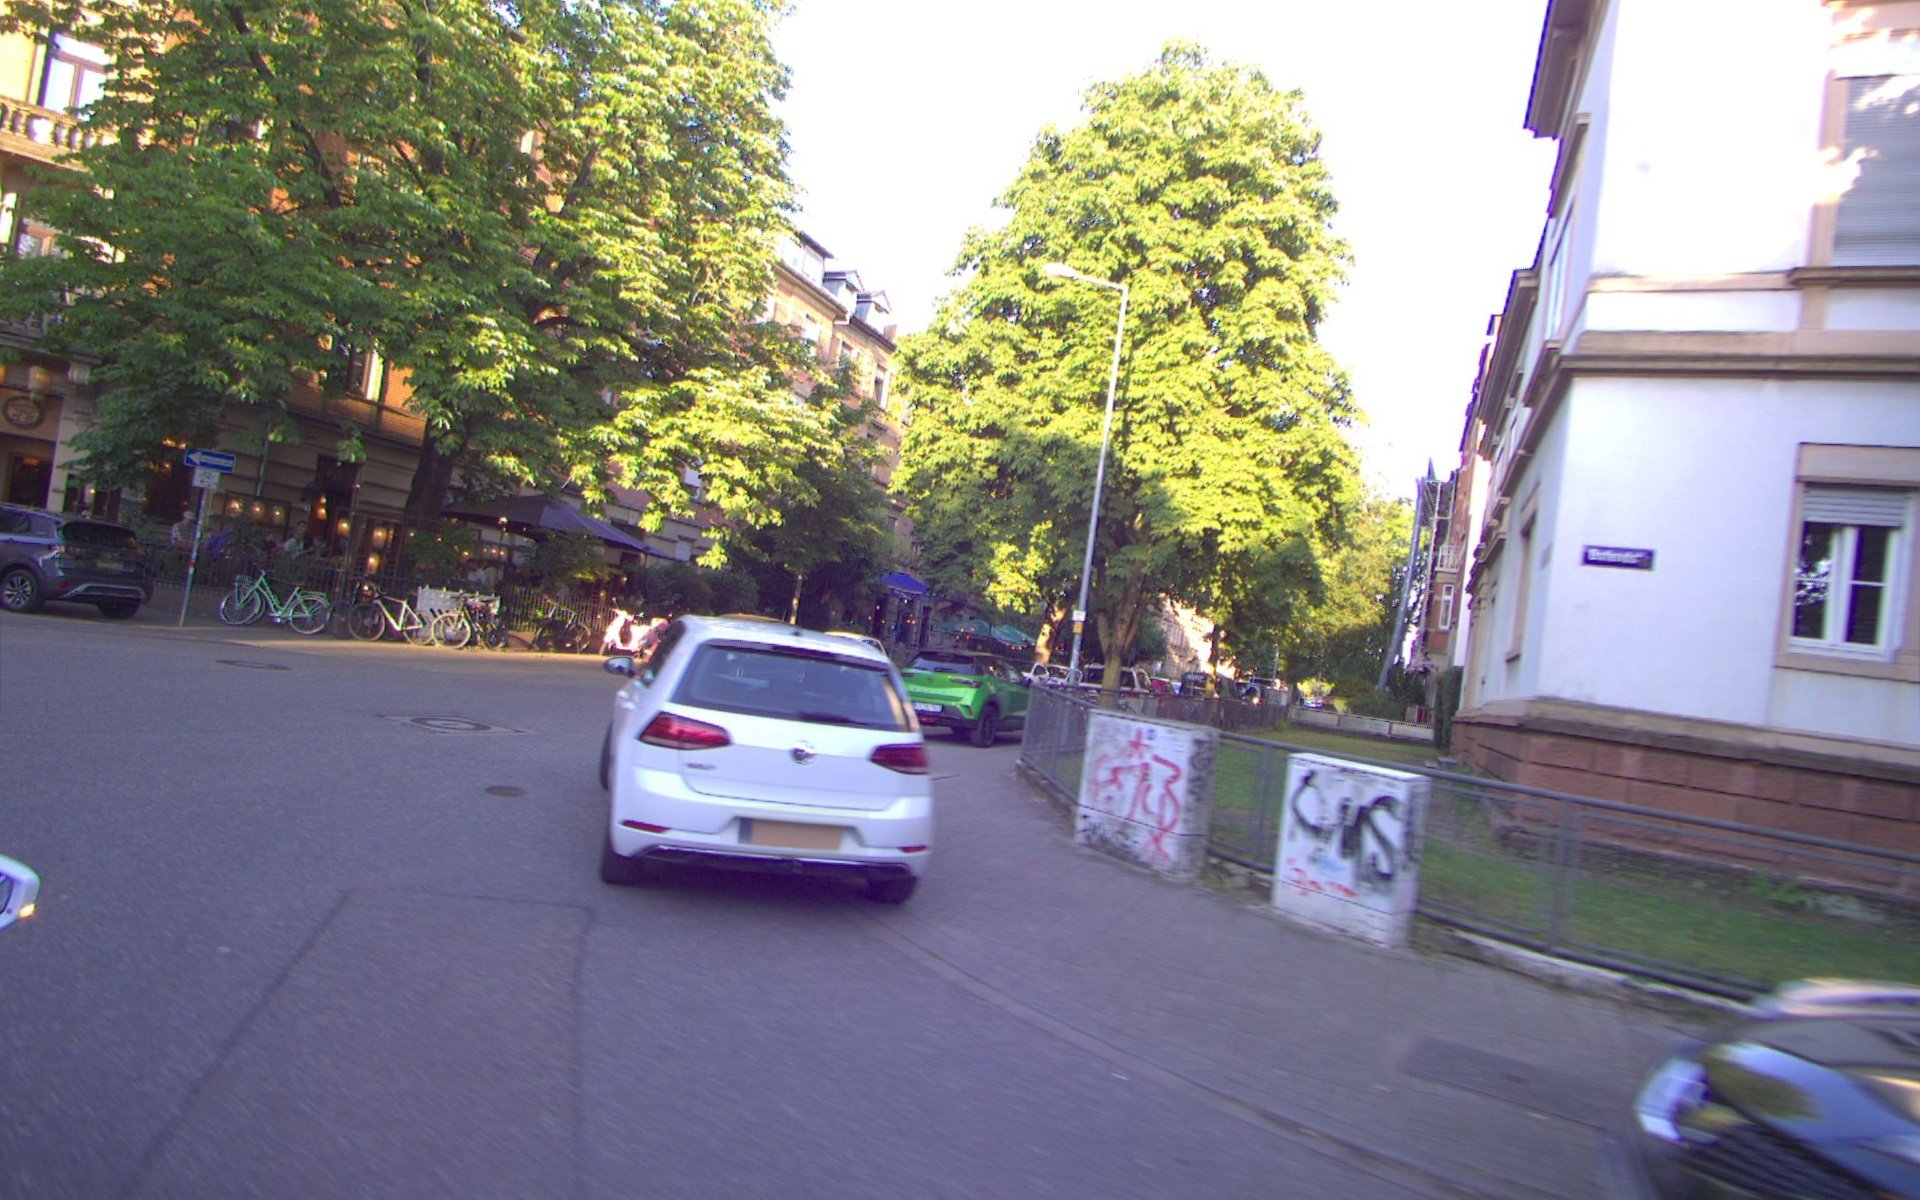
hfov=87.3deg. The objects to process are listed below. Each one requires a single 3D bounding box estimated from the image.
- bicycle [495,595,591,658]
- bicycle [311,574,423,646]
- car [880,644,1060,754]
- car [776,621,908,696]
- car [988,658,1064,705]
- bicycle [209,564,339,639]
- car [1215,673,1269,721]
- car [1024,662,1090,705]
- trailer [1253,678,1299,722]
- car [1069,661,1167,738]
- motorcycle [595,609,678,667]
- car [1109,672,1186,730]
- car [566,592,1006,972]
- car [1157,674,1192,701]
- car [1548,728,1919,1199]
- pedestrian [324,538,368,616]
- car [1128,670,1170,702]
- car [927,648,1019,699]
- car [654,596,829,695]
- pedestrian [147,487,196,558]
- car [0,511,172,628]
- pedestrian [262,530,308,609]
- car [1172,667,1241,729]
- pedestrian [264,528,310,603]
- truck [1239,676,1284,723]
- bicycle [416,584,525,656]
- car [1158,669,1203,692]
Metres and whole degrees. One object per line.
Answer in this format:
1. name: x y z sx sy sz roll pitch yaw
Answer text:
1. bicycle: -9.452 0.620 22.883 0.386 1.156 1.955 9 -2 34
2. bicycle: -11.045 0.213 18.797 0.386 1.157 1.745 7 -2 28
3. car: 0.311 1.739 17.788 1.705 1.574 3.965 4 -4 23
4. car: -3.017 1.590 26.522 1.639 1.509 3.713 10 -2 23
5. car: 2.683 3.302 40.330 1.580 1.451 3.887 10 -2 25
6. bicycle: -12.344 0.039 18.135 1.800 1.111 0.391 8 -1 -14
7. car: 13.421 4.603 47.722 1.811 1.964 4.617 4 -4 23
8. car: 4.275 3.668 43.955 1.529 1.502 3.695 10 -2 26
9. trailer: 18.887 6.002 60.001 1.925 2.320 4.648 4 -4 24
10. car: 4.244 2.611 26.472 1.639 1.697 4.124 4 -4 21
11. motorcycle: -7.919 0.950 24.709 0.386 1.198 1.954 8 -3 34
12. car: 5.875 3.123 31.192 1.639 1.516 3.698 4 -4 21
13. car: -1.414 0.881 6.620 1.790 1.516 4.156 12 -3 -19
14. car: 14.301 5.866 66.987 1.528 1.497 3.698 10 -2 21
15. car: 3.170 1.271 1.392 3.875 1.562 1.634 6 -4 28
16. pedestrian: -12.091 -0.434 19.806 0.422 1.468 0.463 7 -1 -7
17. car: 11.532 5.218 61.054 1.664 1.581 4.408 10 -2 19
18. car: 0.560 2.680 36.120 1.812 1.427 4.606 10 -2 19
19. car: -4.752 1.078 22.420 1.639 1.696 3.849 10 -2 24
20. pedestrian: -17.123 -1.679 21.850 0.514 1.429 0.464 7 -1 10
21. car: -14.968 -0.597 15.860 3.785 1.563 1.635 7 -2 5
22. pedestrian: -13.161 -0.576 19.615 0.422 1.468 0.463 7 -1 -7
23. car: 9.755 3.844 39.527 1.924 2.081 4.835 4 -4 21
24. pedestrian: -14.667 -0.744 21.920 0.515 1.537 0.463 7 -1 -7
25. truck: 16.506 5.425 54.970 1.924 2.271 4.649 4 -4 21
26. bicycle: -9.826 0.431 20.271 0.386 1.198 1.957 10 -2 28
27. car: 22.149 8.104 101.102 4.032 1.544 1.710 10 -1 24
